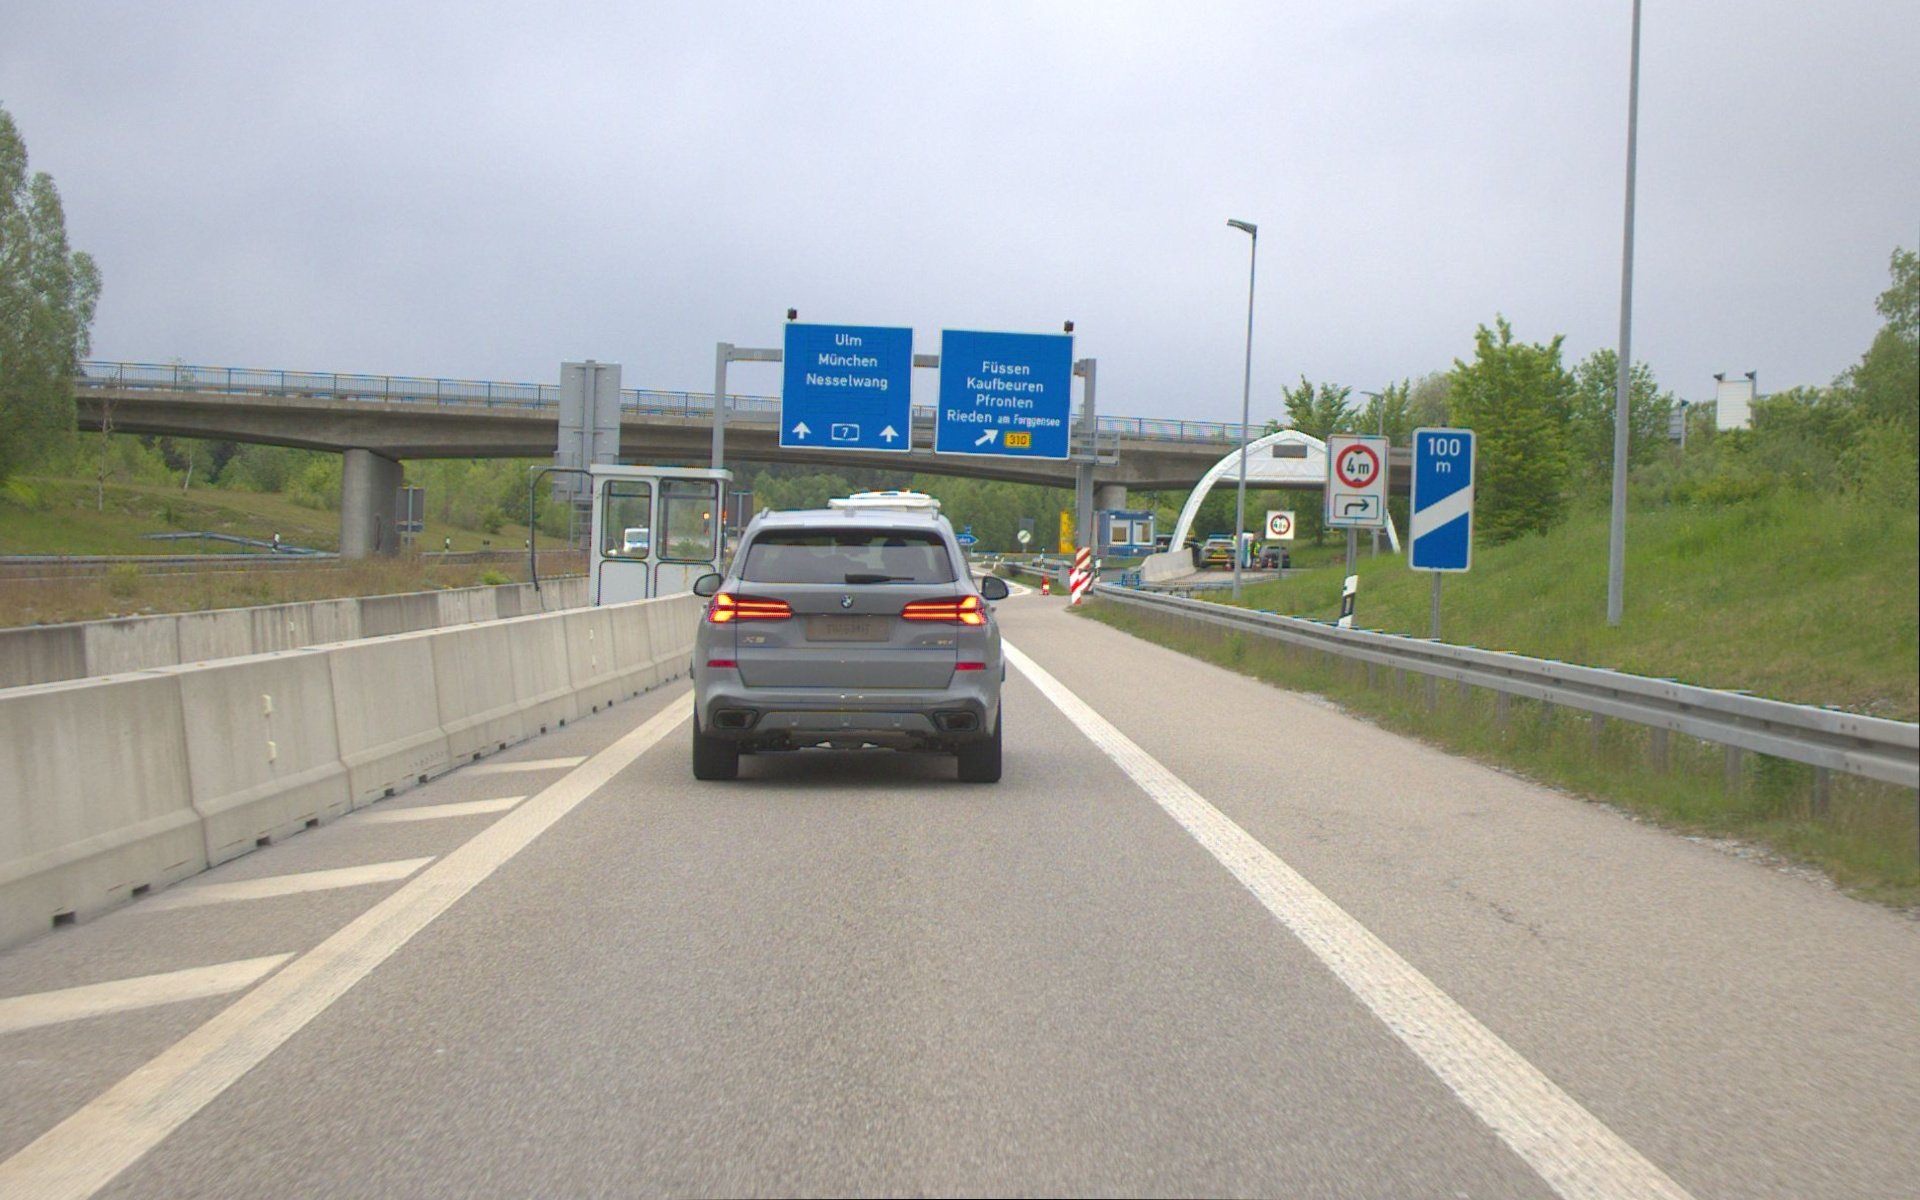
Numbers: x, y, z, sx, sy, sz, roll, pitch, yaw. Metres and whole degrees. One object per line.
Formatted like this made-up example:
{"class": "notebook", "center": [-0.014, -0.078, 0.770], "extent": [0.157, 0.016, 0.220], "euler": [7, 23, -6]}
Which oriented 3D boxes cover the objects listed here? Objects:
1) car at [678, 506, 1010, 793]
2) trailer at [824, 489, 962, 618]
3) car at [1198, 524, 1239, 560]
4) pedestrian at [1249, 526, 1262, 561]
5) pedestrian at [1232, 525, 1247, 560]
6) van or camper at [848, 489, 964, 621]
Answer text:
{"class": "car", "center": [-0.733, 0.269, 22.903], "extent": [1.993, 1.713, 4.000], "euler": [1, 1, -1]}
{"class": "trailer", "center": [-1.276, -0.910, 69.081], "extent": [2.279, 2.422, 6.817], "euler": [1, 0, 3]}
{"class": "car", "center": [13.046, -2.920, 173.544], "extent": [1.994, 1.766, 3.765], "euler": [0, 1, 3]}
{"class": "pedestrian", "center": [15.201, -2.910, 176.781], "extent": [0.648, 1.769, 0.606], "euler": [0, 1, 2]}
{"class": "pedestrian", "center": [14.284, -2.943, 175.758], "extent": [0.720, 1.769, 0.690], "euler": [0, 1, 4]}
{"class": "van or camper", "center": [-1.136, -0.965, 75.435], "extent": [2.157, 2.754, 5.871], "euler": [1, 0, 3]}
